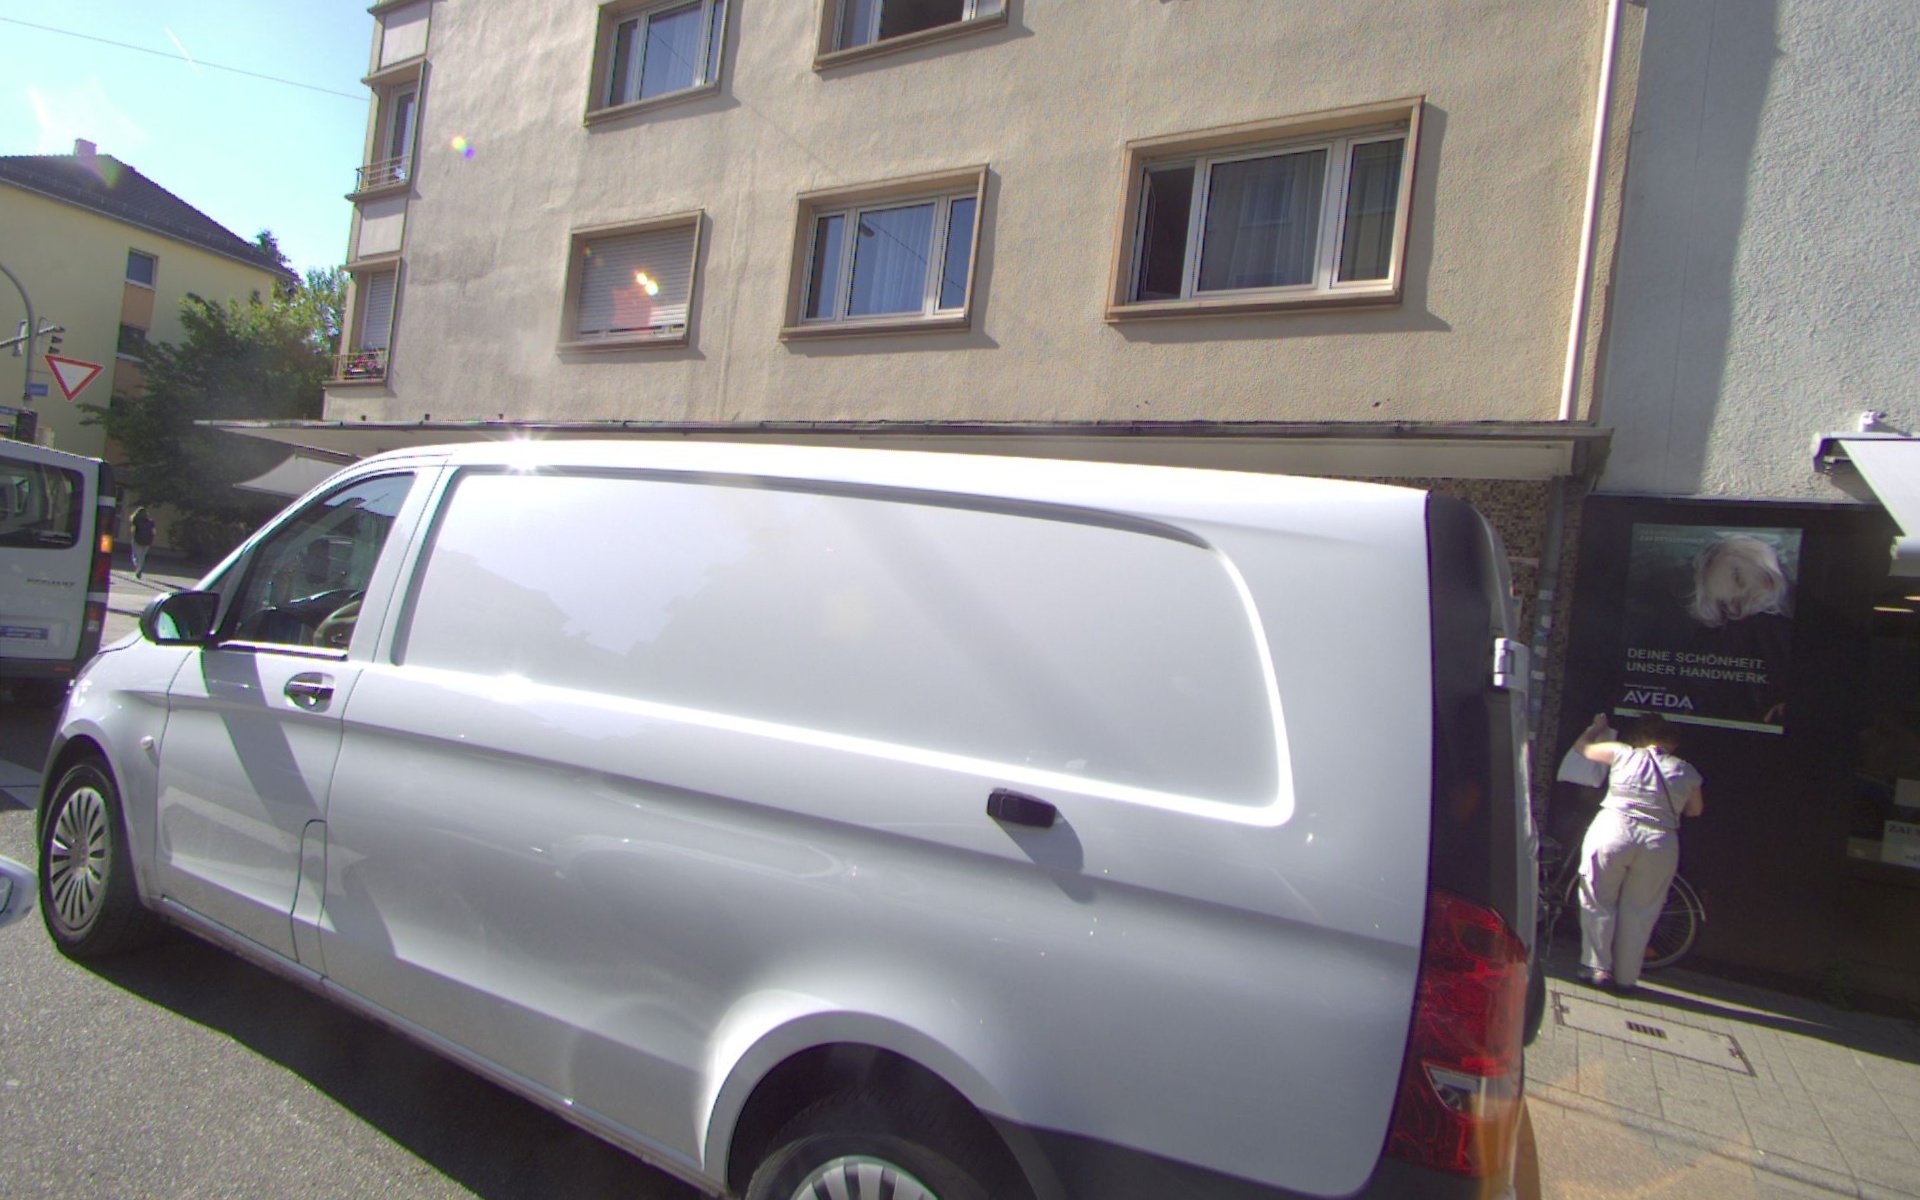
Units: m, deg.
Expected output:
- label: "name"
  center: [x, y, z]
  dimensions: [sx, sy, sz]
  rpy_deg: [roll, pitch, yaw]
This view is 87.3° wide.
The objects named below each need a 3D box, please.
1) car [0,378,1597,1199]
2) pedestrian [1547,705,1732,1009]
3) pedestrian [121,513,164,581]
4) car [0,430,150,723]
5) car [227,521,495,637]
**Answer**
- label: "car"
  center: [-0.878, 0.509, 3.285]
  dimensions: [4.752, 1.832, 1.972]
  rpy_deg: [6, -1, 31]
- label: "pedestrian"
  center: [3.737, 1.358, 5.599]
  dimensions: [0.614, 1.458, 0.776]
  rpy_deg: [7, -2, 27]
- label: "pedestrian"
  center: [-19.983, -1.293, 24.595]
  dimensions: [0.530, 1.590, 0.540]
  rpy_deg: [7, 0, 32]
- label: "car"
  center: [-8.716, -0.406, 7.887]
  dimensions: [4.972, 1.961, 1.973]
  rpy_deg: [6, -3, 32]
- label: "car"
  center: [-11.488, -0.345, 19.570]
  dimensions: [1.795, 1.682, 3.993]
  rpy_deg: [7, -1, 32]
